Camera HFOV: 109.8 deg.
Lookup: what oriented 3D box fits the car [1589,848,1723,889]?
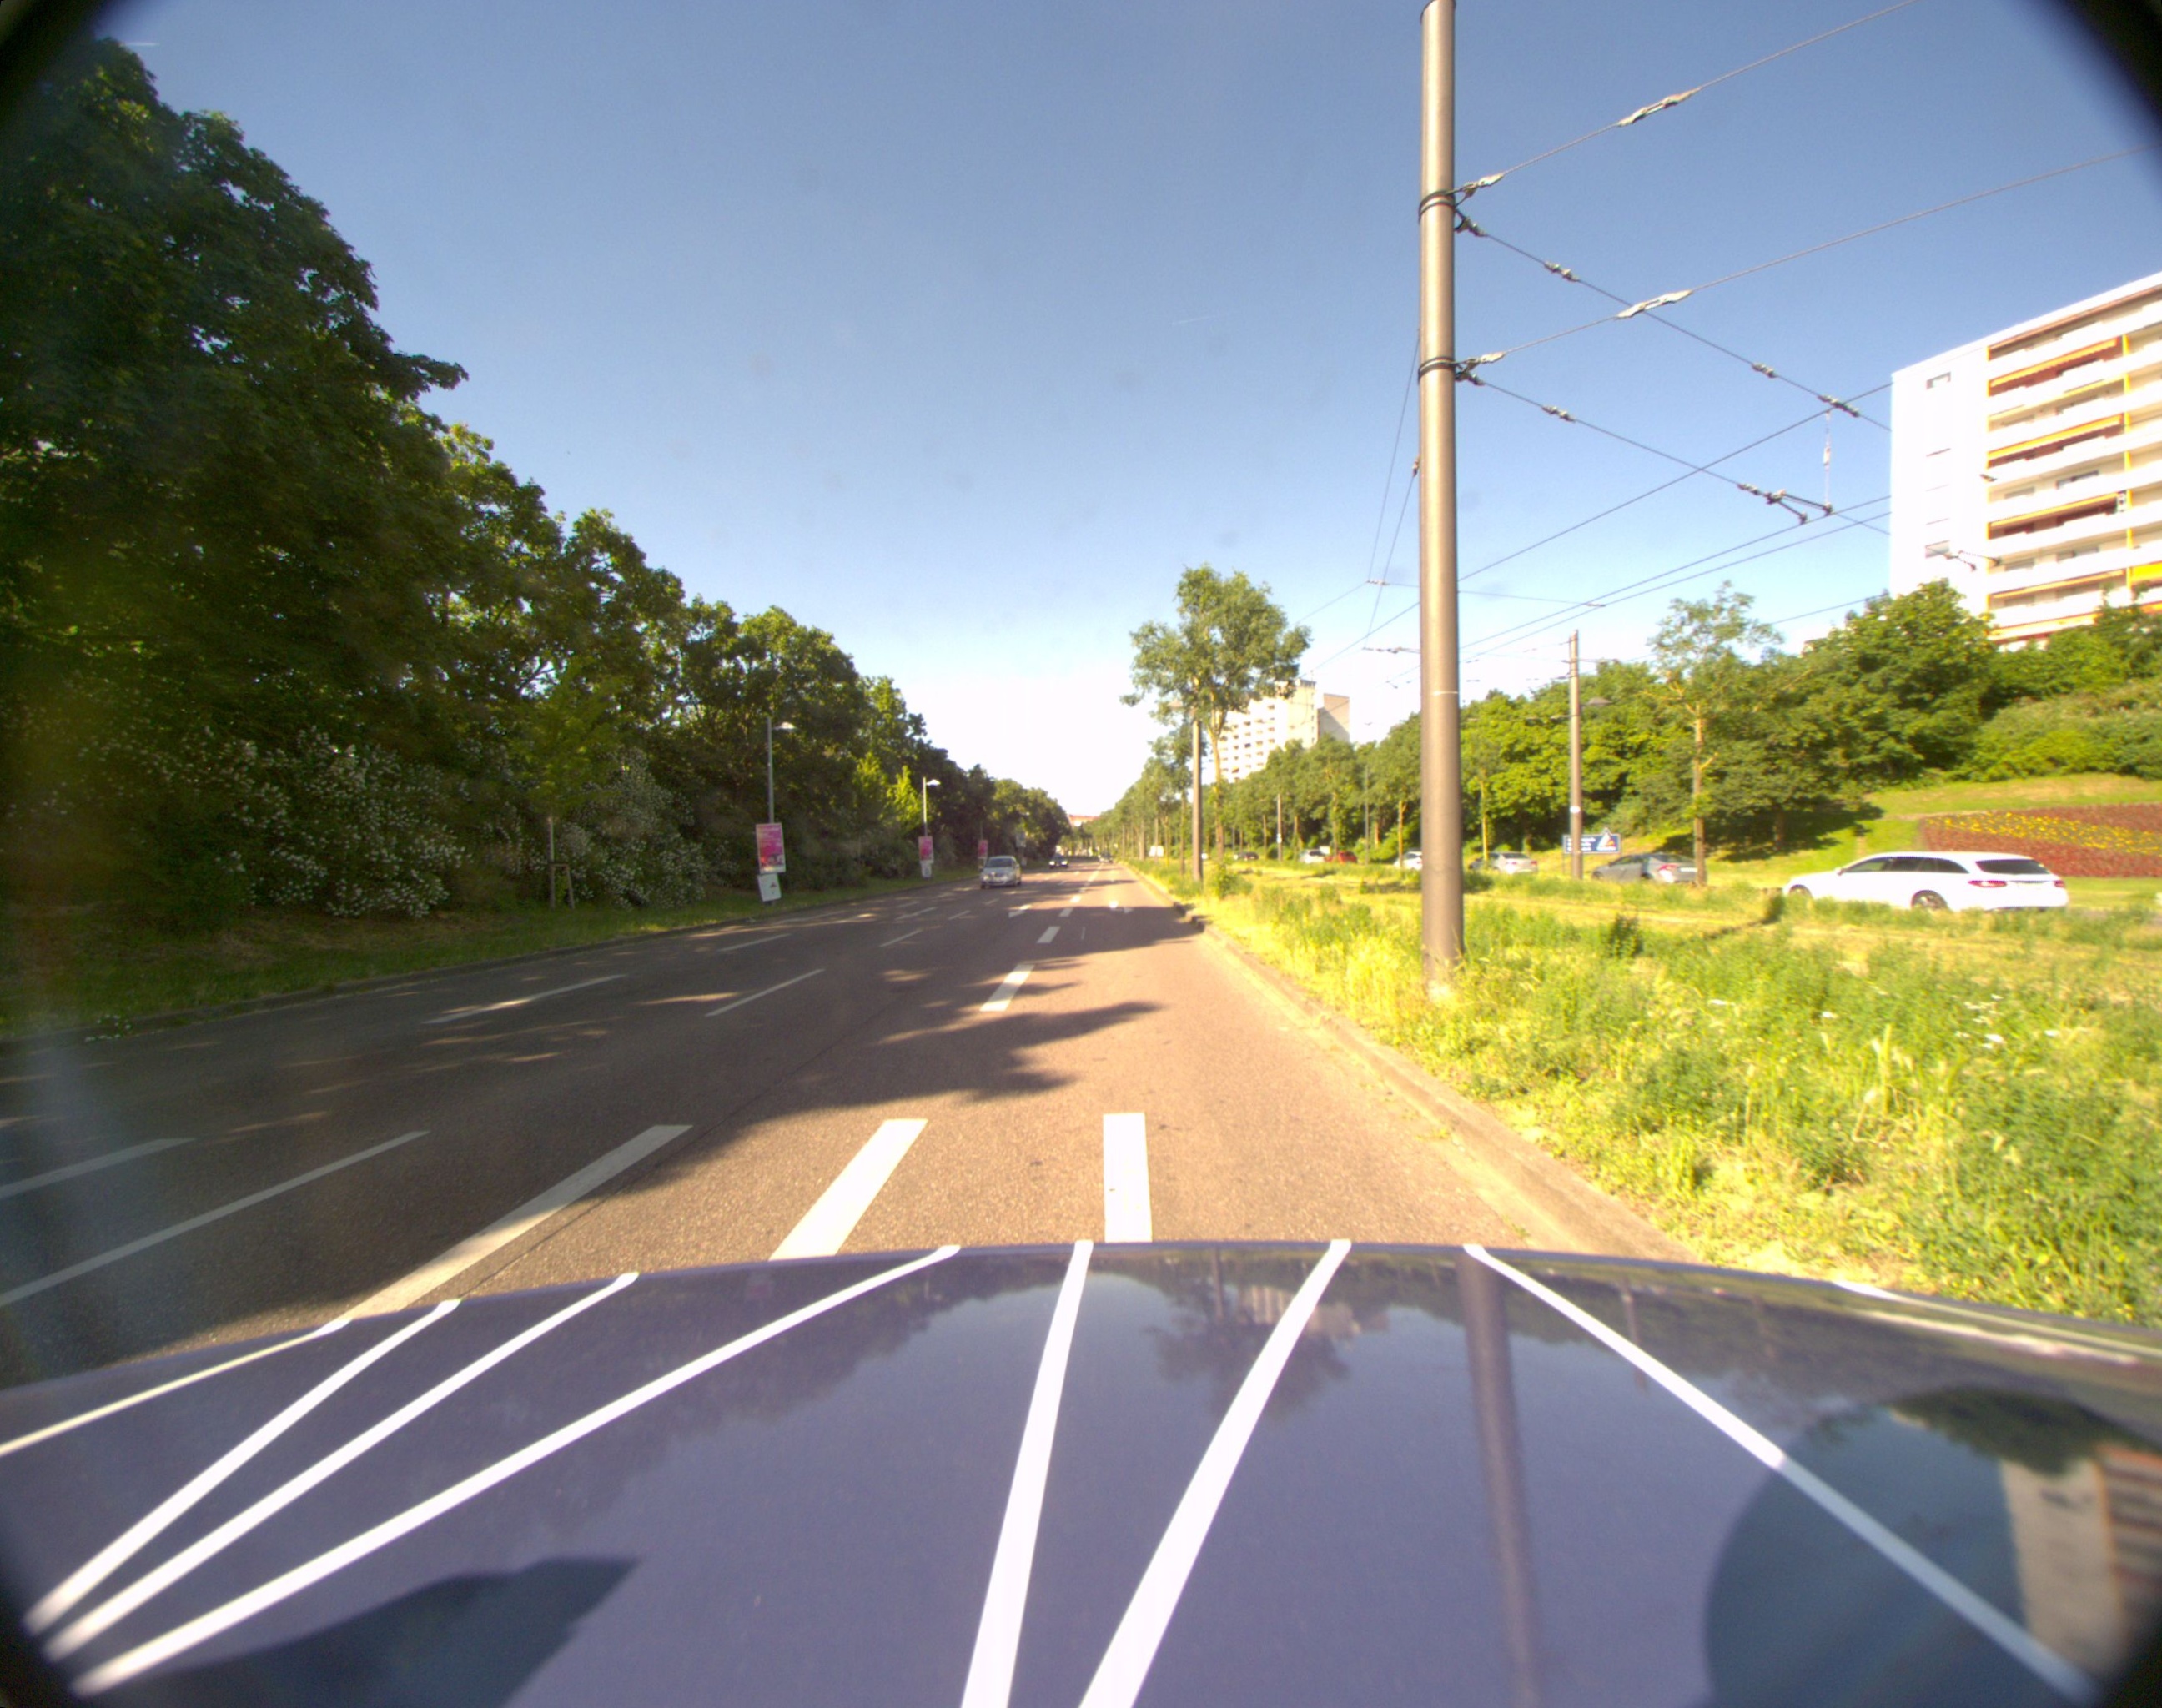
[{"bbox_3d":[22.052,0.499,29.398,1.998,1.366,4.400,-2,1,3],"label":"car"}]

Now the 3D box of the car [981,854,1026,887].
[{"bbox_3d":[-4.010,0.844,39.907,1.672,1.531,4.060,-3,0,3],"label":"car"}]

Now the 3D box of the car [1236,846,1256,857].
[{"bbox_3d":[22.872,-0.393,105.528,1.904,1.390,4.543,-2,1,1],"label":"car"}]

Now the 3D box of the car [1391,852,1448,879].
[{"bbox_3d":[19.064,0.636,42.958,1.592,1.464,4.184,1,-1,3],"label":"car"}]

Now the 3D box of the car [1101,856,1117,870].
[{"bbox_3d":[3.750,1.137,101.554,1.998,1.696,3.999,-2,1,1],"label":"car"}]

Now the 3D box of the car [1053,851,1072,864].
[{"bbox_3d":[-1.968,0.346,81.138,1.831,1.400,4.216,-1,0,1],"label":"car"}]

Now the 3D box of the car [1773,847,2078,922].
[{"bbox_3d":[18.299,0.572,16.894,1.707,1.415,4.643,0,1,2],"label":"car"}]

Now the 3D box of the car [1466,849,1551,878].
[{"bbox_3d":[22.634,0.441,40.487,1.998,1.424,4.693,0,1,2],"label":"car"}]

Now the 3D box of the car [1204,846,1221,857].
[{"bbox_3d":[20.614,-0.390,119.177,1.899,1.612,4.656,-2,1,0],"label":"car"}]

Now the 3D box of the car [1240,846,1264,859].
[{"bbox_3d":[20.139,-0.204,89.616,1.998,1.401,4.991,-2,1,4],"label":"car"}]

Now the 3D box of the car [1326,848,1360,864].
[{"bbox_3d":[22.711,0.125,66.111,1.661,1.290,4.177,-2,1,3],"label":"car"}]

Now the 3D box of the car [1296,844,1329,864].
[{"bbox_3d":[19.332,0.005,63.581,1.767,1.599,3.758,0,1,2],"label":"car"}]

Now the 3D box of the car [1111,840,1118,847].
[{"bbox_3d":[11.208,-3.587,254.041,2.044,2.355,6.880,-2,1,2],"label":"car"}]

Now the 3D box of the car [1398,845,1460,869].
[{"bbox_3d":[22.722,0.164,49.818,1.998,1.472,4.631,-2,1,2],"label":"car"}]
